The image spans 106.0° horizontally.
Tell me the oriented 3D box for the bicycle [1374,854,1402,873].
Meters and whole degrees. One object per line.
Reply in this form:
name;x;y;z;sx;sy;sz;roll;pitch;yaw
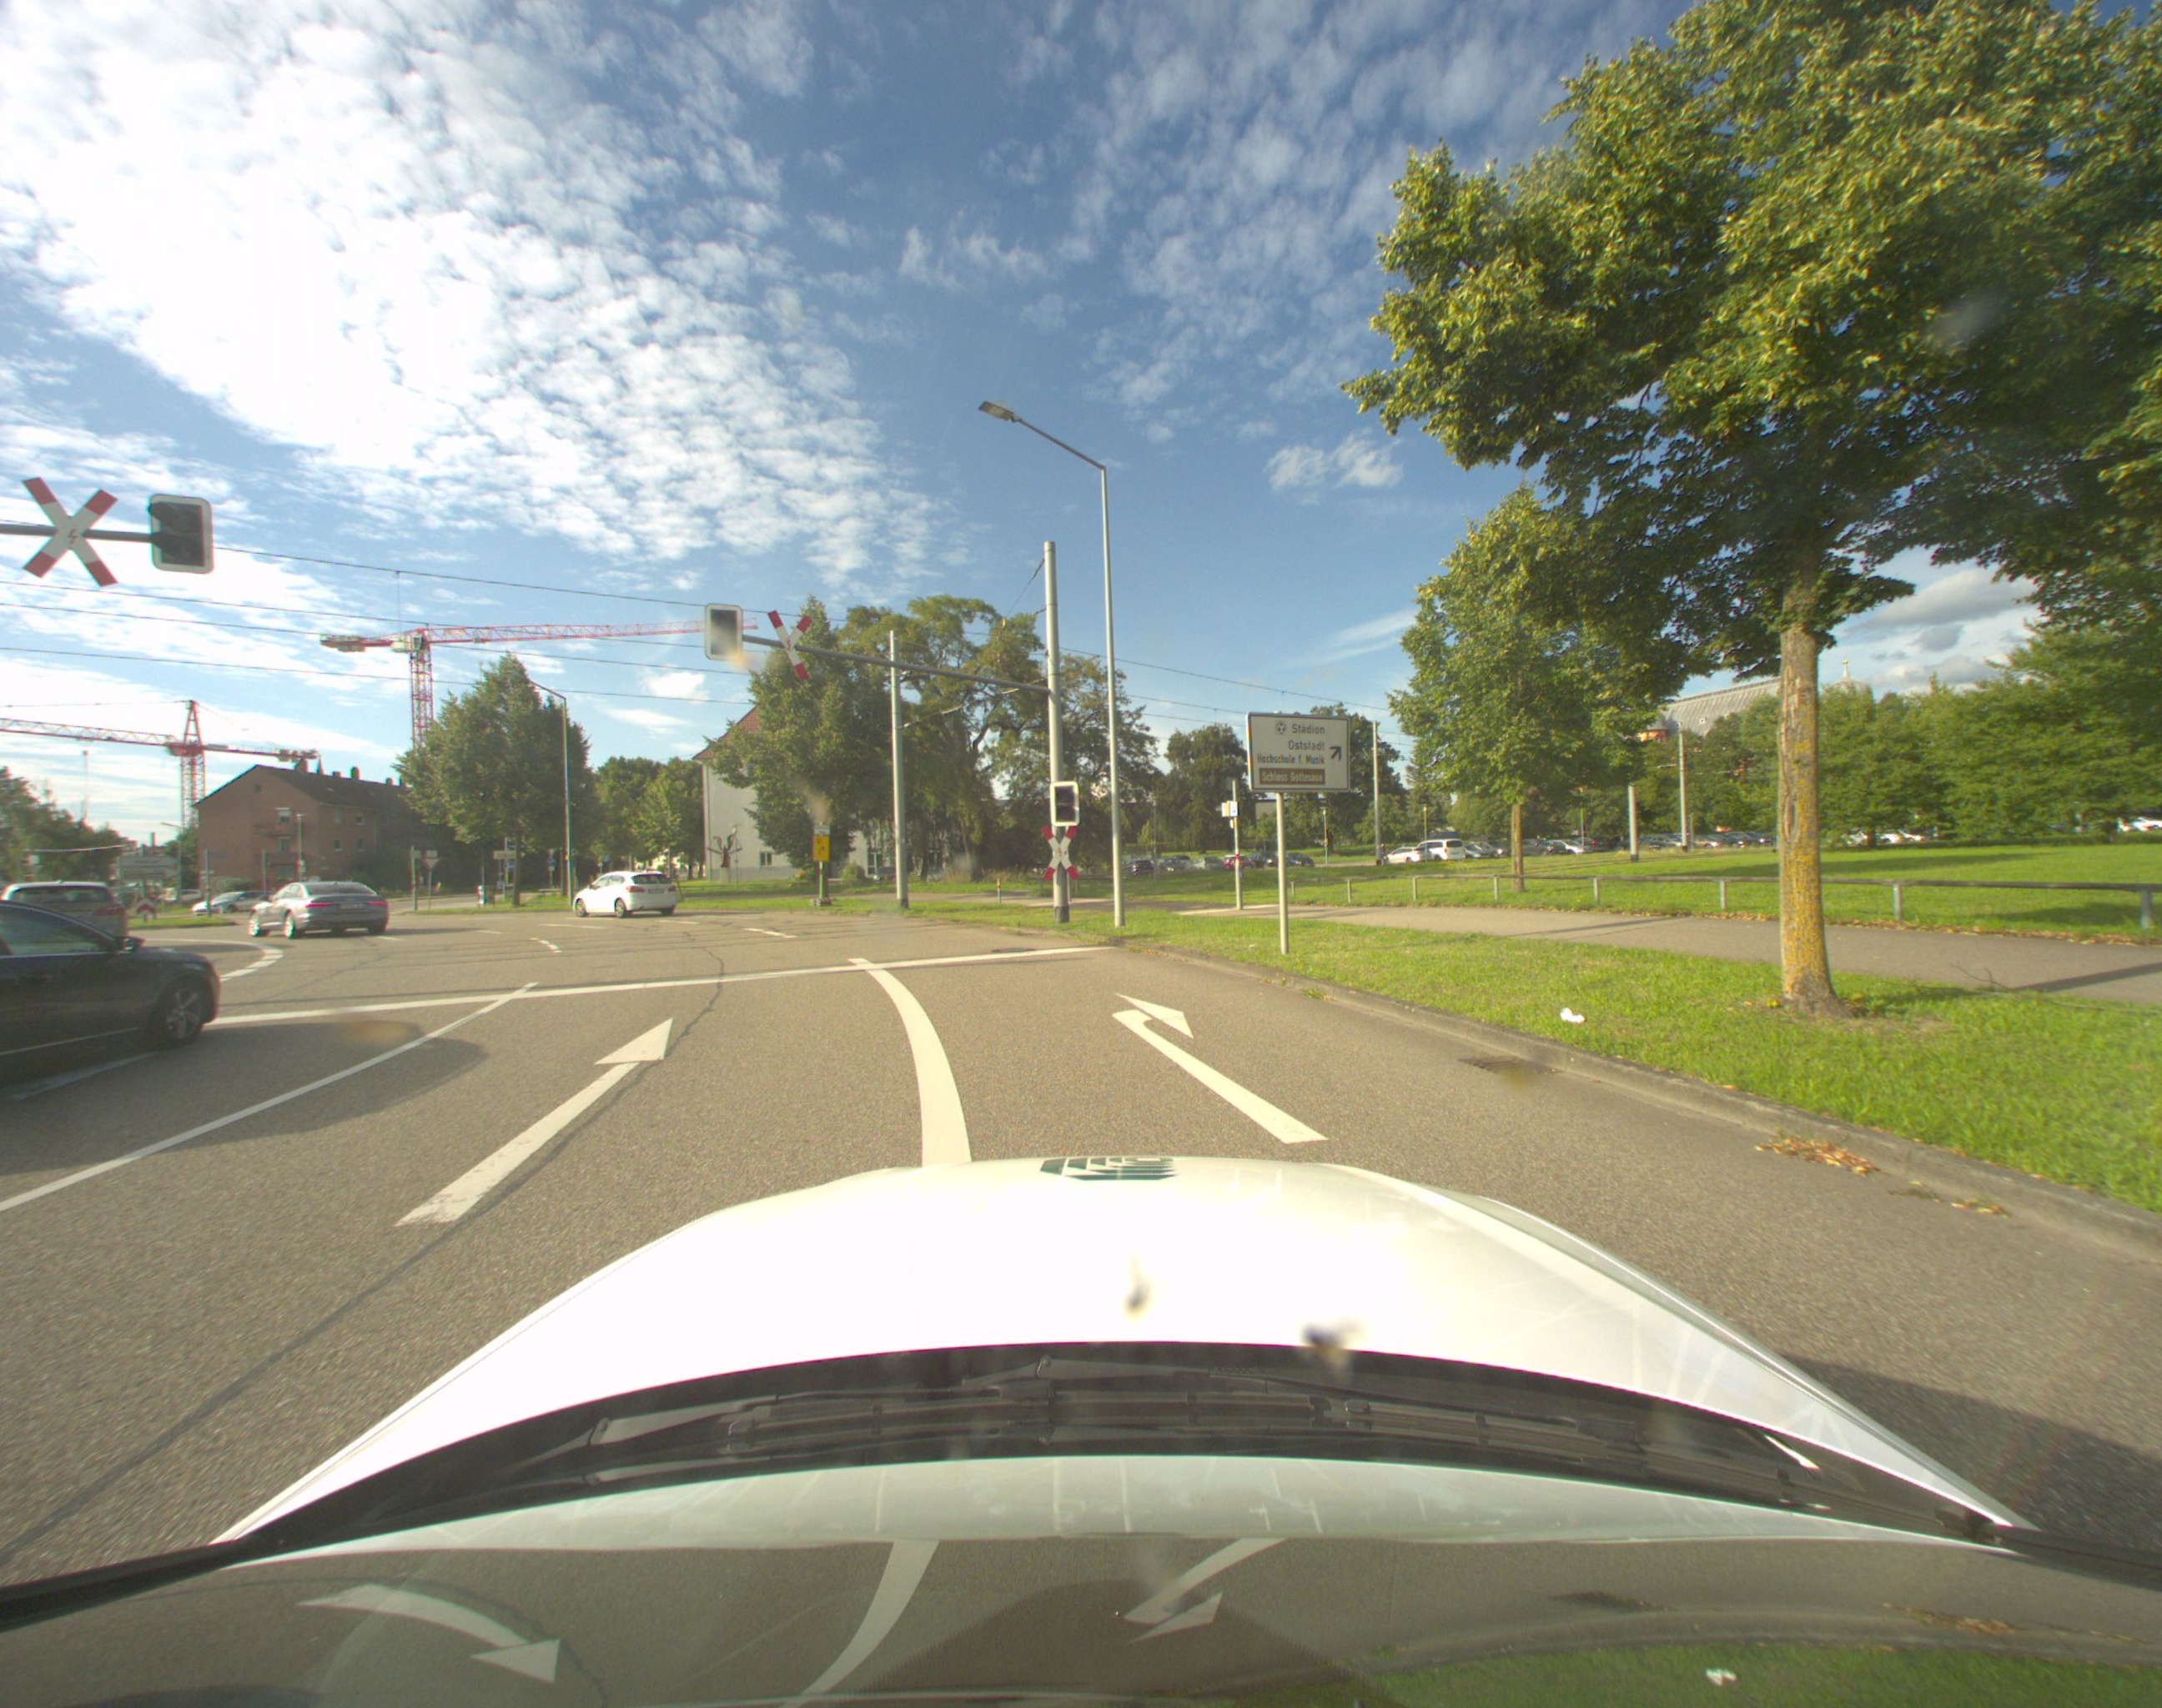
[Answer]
bicycle;21.813;0.644;57.855;2.543;1.222;0.705;-2;0;-42

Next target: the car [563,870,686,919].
car;-16.033;1.389;28.533;4.397;1.572;1.868;-2;-1;32

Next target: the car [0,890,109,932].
car;-53.391;2.899;41.723;1.894;1.903;4.649;-1;-1;-7

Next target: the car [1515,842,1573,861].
car;37.815;-0.148;66.652;1.853;1.398;4.457;-2;0;-7

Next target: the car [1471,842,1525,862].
car;33.526;-0.131;65.589;2.025;1.515;4.108;-2;0;-3

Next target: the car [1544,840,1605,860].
car;40.527;-0.289;66.996;1.853;1.504;4.457;-2;0;-7

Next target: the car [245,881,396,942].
car;-20.649;1.513;22.076;4.654;1.445;1.868;-2;-1;32

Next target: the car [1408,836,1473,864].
car;28.351;-0.256;64.464;2.308;2.007;5.099;-2;0;-8

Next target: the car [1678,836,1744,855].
car;54.400;-0.690;70.453;1.852;1.454;4.457;-2;0;-7

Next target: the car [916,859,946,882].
car;-10.287;1.108;55.919;1.856;1.440;4.716;-2;0;-11

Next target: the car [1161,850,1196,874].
car;8.622;0.704;72.248;1.870;2.014;4.795;0;-2;-8

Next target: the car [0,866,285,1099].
car;-8.477;0.916;5.723;1.997;1.566;4.819;-1;0;-16

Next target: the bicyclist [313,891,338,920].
bicyclist;-43.097;2.918;46.455;0.762;1.575;0.966;-3;0;43

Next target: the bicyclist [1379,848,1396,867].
bicyclist;21.825;0.256;57.939;1.011;1.355;0.705;-2;0;-42

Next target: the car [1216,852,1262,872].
car;11.729;0.584;60.872;1.856;1.362;4.452;-2;0;-11

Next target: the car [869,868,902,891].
car;-13.123;1.693;54.953;1.856;1.381;4.498;-2;0;-11

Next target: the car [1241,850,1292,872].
car;13.851;0.521;61.140;1.856;1.515;4.927;-2;0;-11

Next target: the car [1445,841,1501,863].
car;31.335;-0.131;65.283;2.091;1.674;4.464;-2;0;-3

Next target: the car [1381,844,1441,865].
car;25.697;0.072;63.598;1.860;1.515;4.441;-2;-1;-18

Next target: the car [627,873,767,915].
car;-14.686;1.493;31.460;4.658;1.431;1.890;-1;-1;-18

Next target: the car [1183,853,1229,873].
car;9.208;0.679;60.465;1.856;1.358;4.816;-2;0;-11

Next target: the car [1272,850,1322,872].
car;16.351;0.542;61.915;1.856;1.515;4.452;-2;0;-11

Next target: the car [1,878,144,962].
car;-21.696;1.337;17.585;4.014;1.572;1.785;-2;-1;39

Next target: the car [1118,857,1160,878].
car;4.145;0.970;58.872;1.856;1.359;4.716;-2;0;-11

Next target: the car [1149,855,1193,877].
car;6.485;0.885;59.480;1.856;1.515;4.730;-2;0;-11

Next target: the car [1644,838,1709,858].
car;50.632;-0.459;69.363;1.852;1.541;4.457;-2;0;-7

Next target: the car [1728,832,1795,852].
car;59.698;-1.057;71.562;1.852;1.541;4.457;-2;0;-7

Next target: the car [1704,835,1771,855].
car;57.009;-0.747;70.843;1.852;1.541;4.457;-2;0;-7

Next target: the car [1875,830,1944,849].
car;77.315;-1.309;76.092;1.847;1.541;4.468;-2;0;0

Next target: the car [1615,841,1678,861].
car;48.011;-0.233;69.264;1.796;1.515;4.457;-2;0;-7

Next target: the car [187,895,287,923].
car;-53.958;3.475;52.215;1.814;1.452;4.536;-2;0;-3

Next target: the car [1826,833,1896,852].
car;71.519;-1.038;74.779;1.794;1.475;4.453;-2;0;-10
